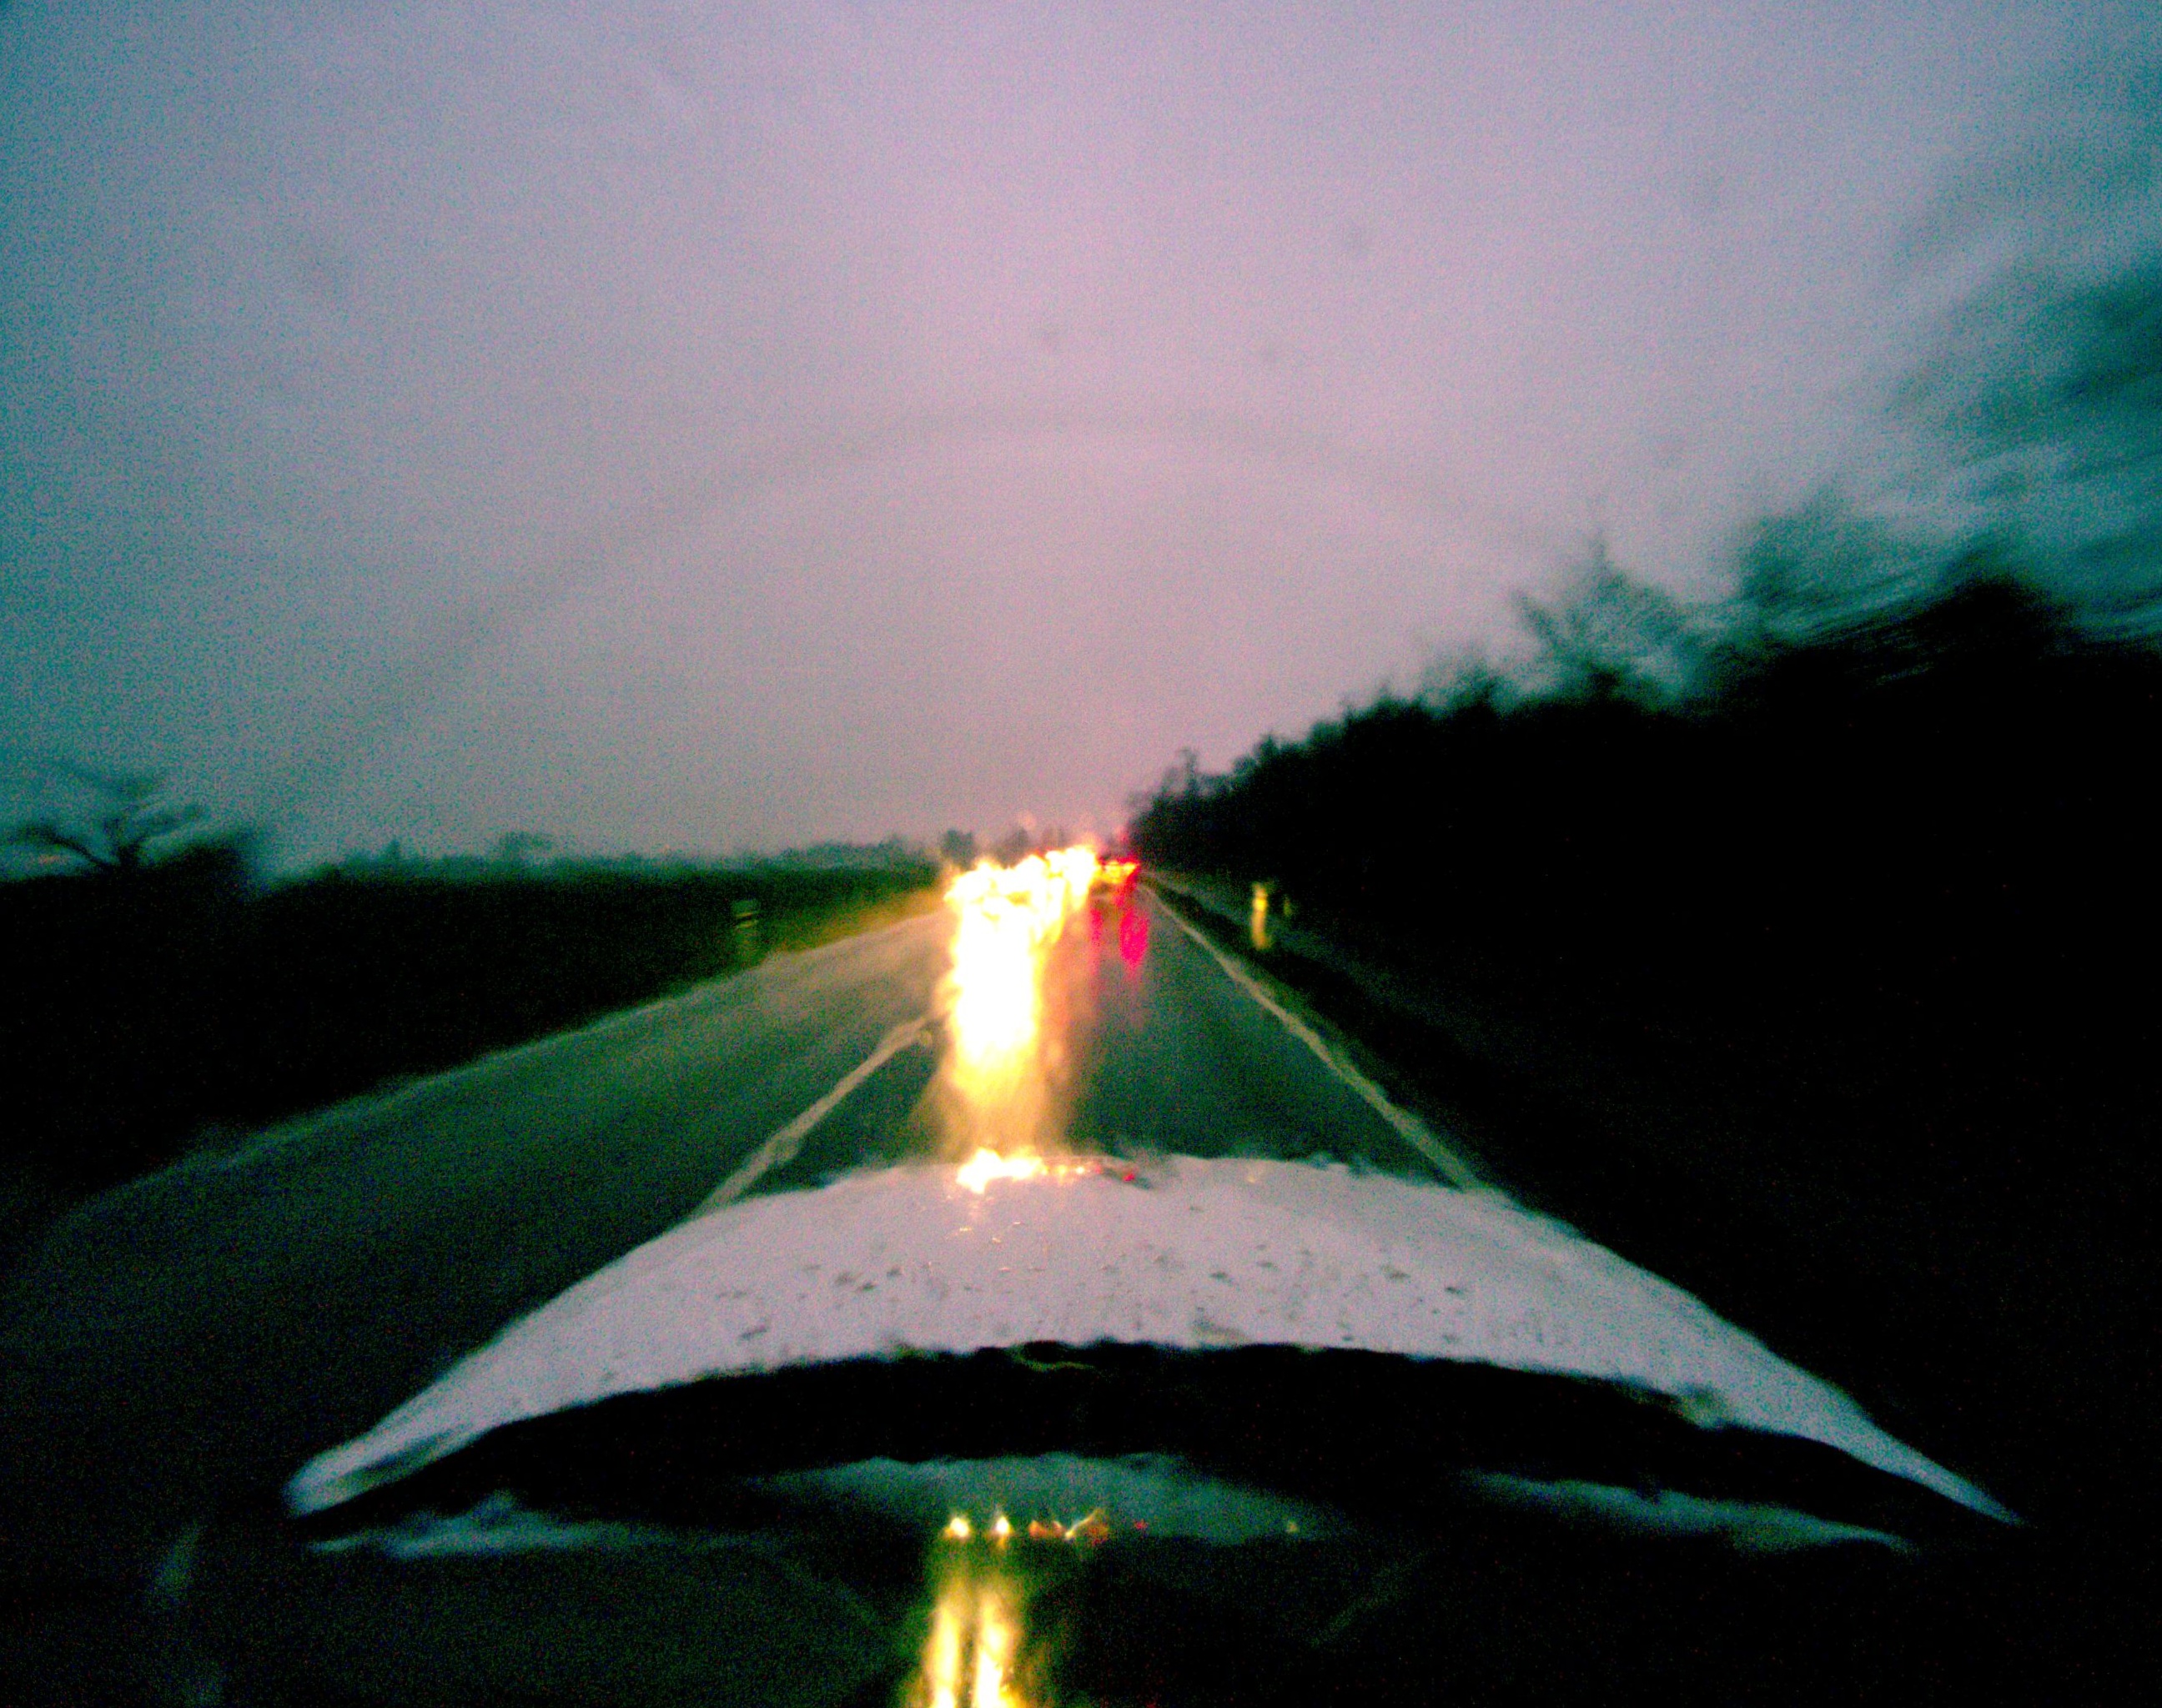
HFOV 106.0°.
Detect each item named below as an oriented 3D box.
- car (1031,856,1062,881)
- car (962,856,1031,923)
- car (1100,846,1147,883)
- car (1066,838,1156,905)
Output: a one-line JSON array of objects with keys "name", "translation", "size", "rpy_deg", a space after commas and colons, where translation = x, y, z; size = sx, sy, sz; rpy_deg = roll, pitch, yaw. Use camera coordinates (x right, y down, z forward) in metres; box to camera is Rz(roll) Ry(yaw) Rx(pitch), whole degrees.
[{"name": "car", "translation": [-2.412, 1.001, 58.088], "size": [1.909, 1.712, 4.313], "rpy_deg": [-2, 0, 0]}, {"name": "car", "translation": [-2.892, 1.160, 28.805], "size": [1.909, 2.137, 4.313], "rpy_deg": [-2, 0, 0]}, {"name": "car", "translation": [2.467, 0.603, 47.401], "size": [2.581, 2.013, 5.808], "rpy_deg": [0, 0, 3]}, {"name": "car", "translation": [1.080, 0.546, 28.411], "size": [2.809, 2.077, 5.808], "rpy_deg": [0, 0, 3]}]
